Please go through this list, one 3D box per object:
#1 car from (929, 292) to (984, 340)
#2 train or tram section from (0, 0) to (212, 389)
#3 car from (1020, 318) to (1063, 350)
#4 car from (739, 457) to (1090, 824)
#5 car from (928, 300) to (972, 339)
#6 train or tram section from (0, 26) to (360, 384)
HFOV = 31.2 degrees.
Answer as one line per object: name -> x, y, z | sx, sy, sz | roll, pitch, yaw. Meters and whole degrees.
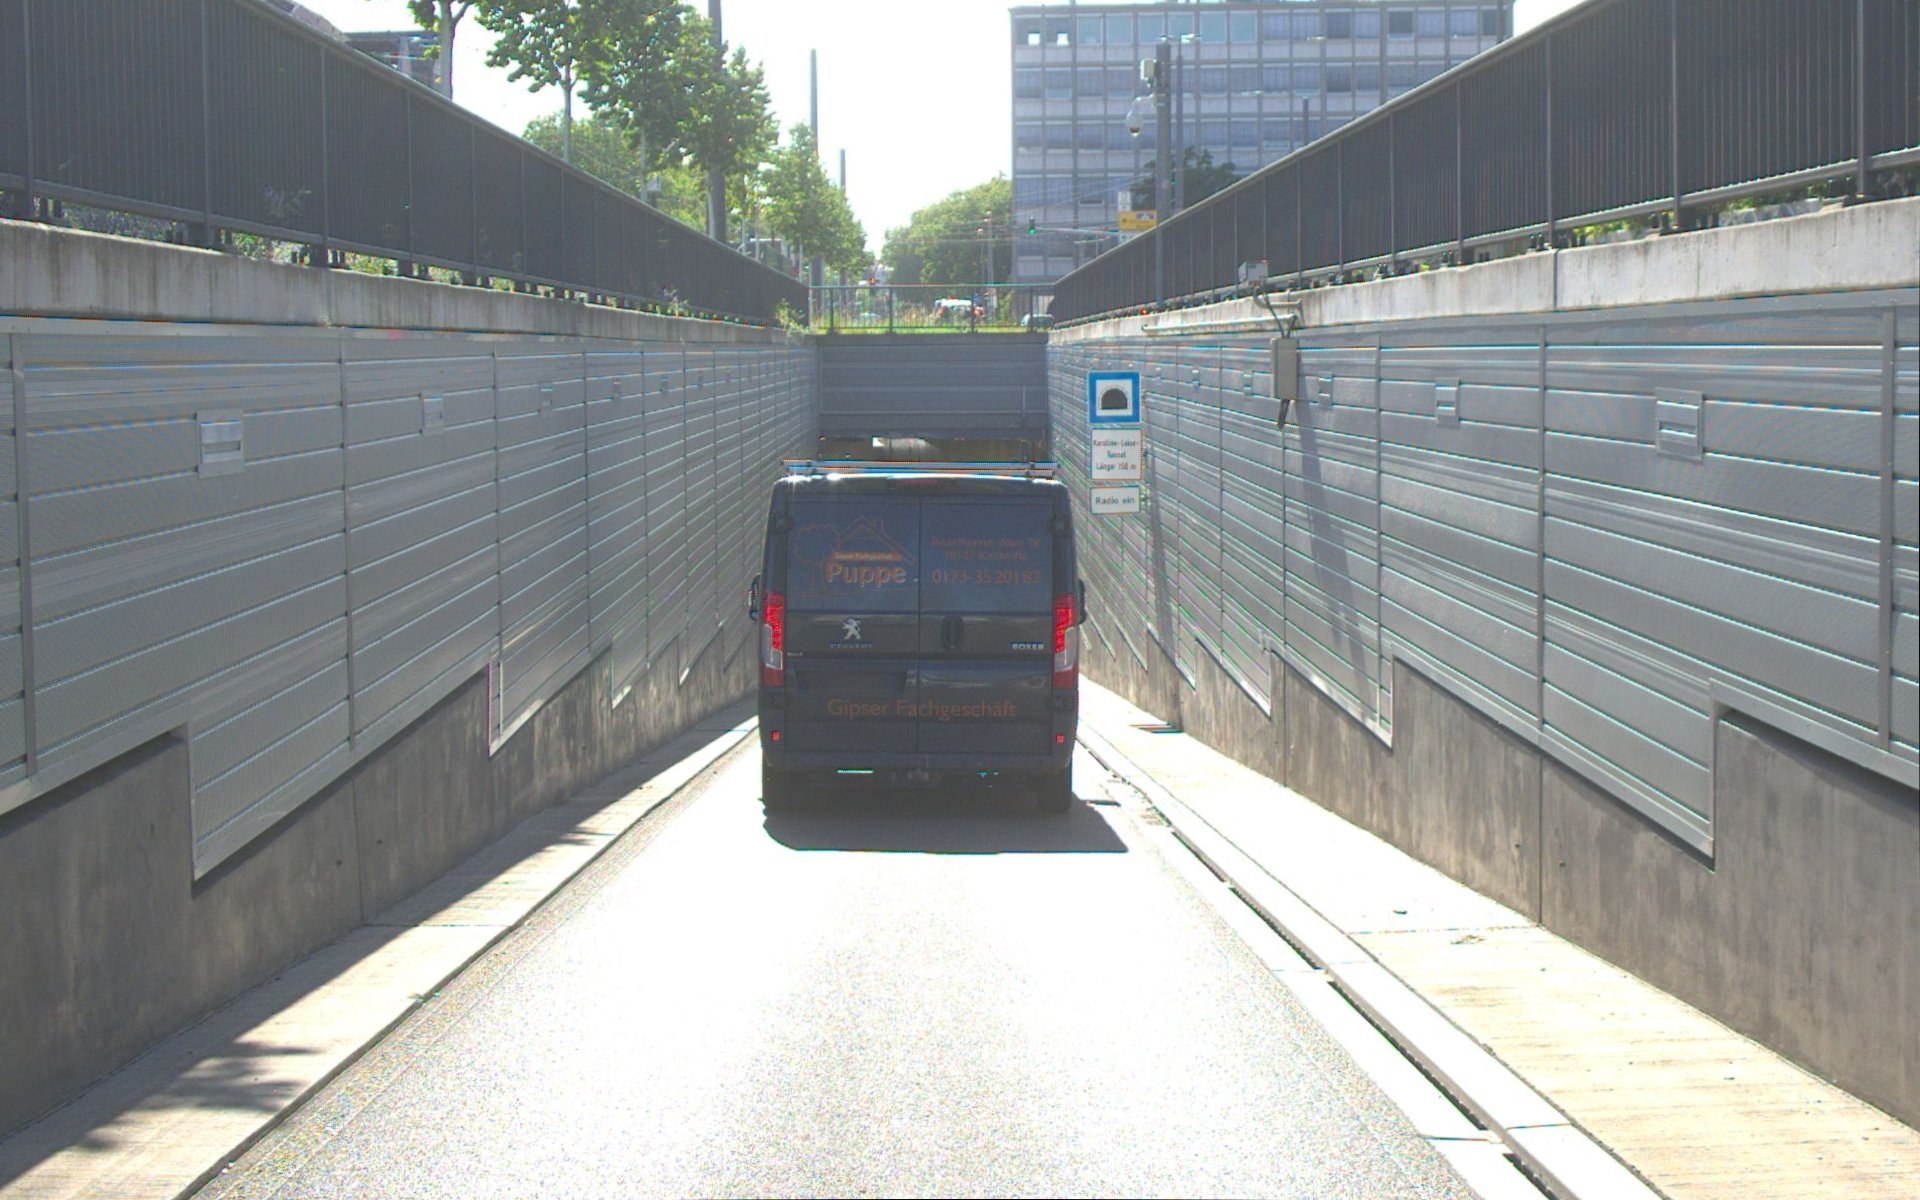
car -> -0.146, -9.637, 116.735 | 1.740, 1.556, 4.001 | 0, 4, -2
train or tram section -> -9.424, -3.844, 31.060 | 2.610, 3.807, 13.094 | 1, 4, -1
car -> 3.704, -12.055, 156.122 | 1.740, 1.416, 4.001 | 0, 4, -2
car -> -0.278, 0.246, 23.663 | 2.158, 2.258, 4.636 | 1, 0, 0
car -> -0.447, -11.778, 144.513 | 1.740, 1.556, 4.001 | 0, 4, -2
train or tram section -> -9.570, -4.633, 42.566 | 2.612, 3.840, 9.973 | 1, 4, -1
